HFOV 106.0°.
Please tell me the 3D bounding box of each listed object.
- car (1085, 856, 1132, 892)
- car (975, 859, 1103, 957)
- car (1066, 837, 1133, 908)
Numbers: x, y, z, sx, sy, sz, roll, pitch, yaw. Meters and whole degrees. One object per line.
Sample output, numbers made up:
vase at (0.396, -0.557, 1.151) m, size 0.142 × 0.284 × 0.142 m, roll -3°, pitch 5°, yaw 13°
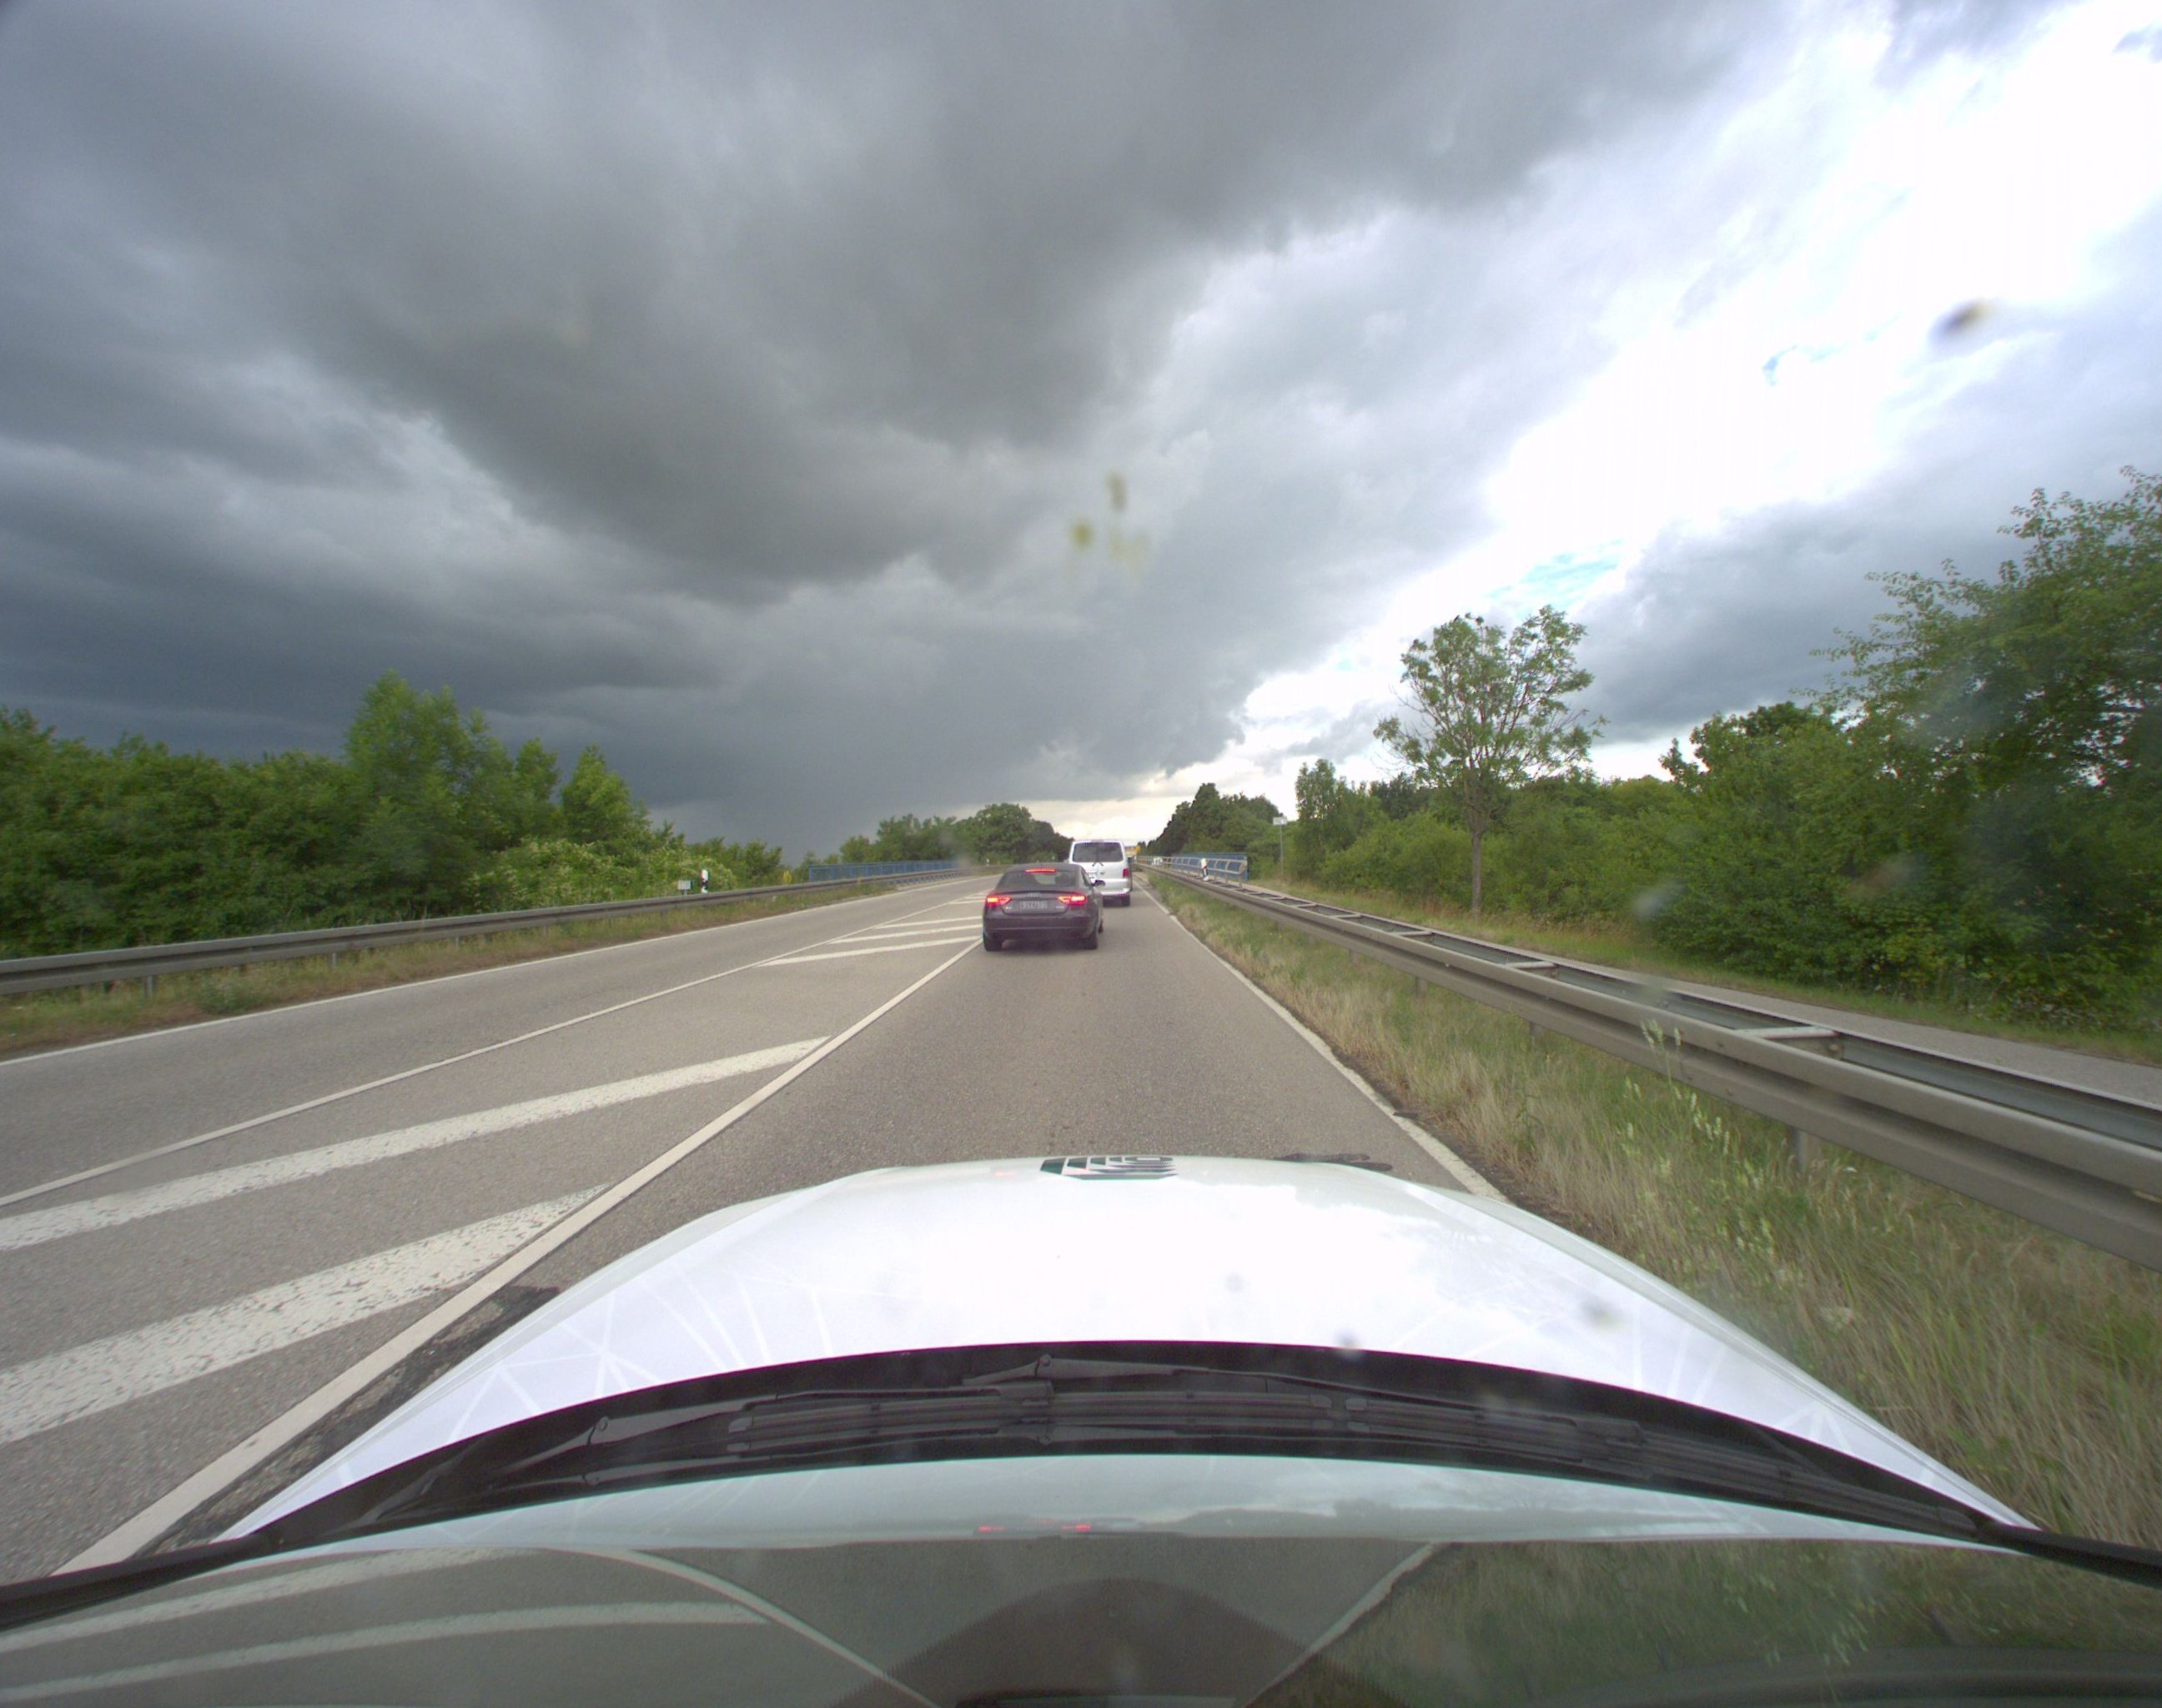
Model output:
car at (1.196, 0.815, 34.249) m, size 1.814 × 1.381 × 4.075 m, roll -1°, pitch 0°, yaw 3°
car at (-0.567, 0.817, 14.127) m, size 1.814 × 1.381 × 4.073 m, roll -2°, pitch 0°, yaw 2°
car at (0.584, 0.528, 24.865) m, size 1.821 × 1.935 × 4.001 m, roll -2°, pitch 0°, yaw 2°
